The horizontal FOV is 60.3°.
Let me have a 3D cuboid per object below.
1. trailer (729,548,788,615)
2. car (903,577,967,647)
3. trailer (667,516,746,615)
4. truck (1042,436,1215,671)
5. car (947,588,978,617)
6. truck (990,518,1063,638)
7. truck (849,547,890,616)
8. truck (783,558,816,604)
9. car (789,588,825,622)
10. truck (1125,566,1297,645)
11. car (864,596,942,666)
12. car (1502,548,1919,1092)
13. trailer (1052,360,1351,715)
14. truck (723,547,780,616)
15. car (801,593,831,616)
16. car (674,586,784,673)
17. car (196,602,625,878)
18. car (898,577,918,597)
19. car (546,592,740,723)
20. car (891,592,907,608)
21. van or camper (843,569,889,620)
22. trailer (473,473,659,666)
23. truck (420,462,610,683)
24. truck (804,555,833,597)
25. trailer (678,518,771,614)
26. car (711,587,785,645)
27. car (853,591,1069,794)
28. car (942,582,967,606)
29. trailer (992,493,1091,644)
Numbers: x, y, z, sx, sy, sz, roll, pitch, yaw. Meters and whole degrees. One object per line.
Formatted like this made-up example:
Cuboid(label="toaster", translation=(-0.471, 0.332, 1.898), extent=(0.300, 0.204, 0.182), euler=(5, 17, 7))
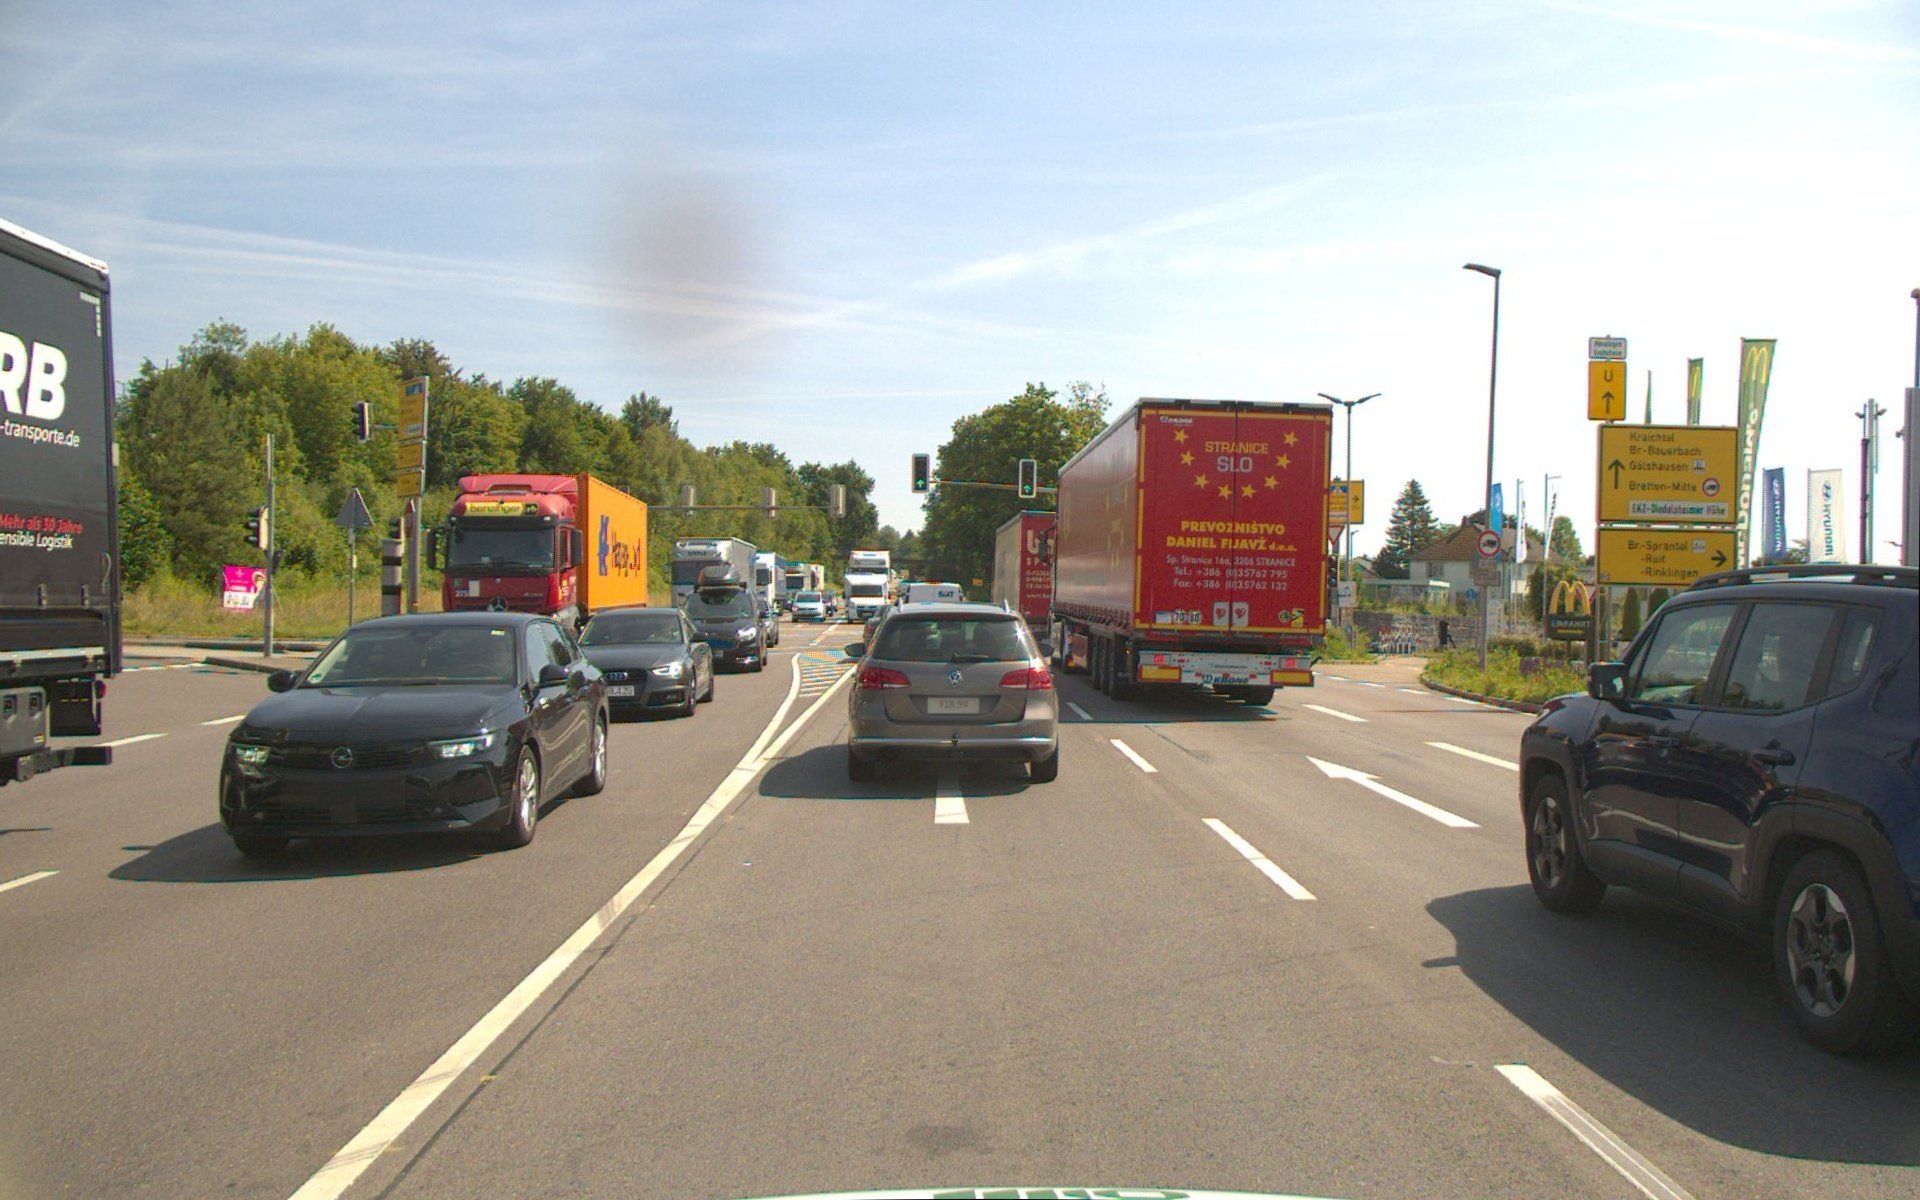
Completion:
Cuboid(label="trailer", translation=(-13.339, -1.188, 110.607), extent=(3.031, 4.151, 14.118), euler=(0, 0, -3))
Cuboid(label="car", translation=(-0.782, 0.328, 48.863), extent=(1.735, 1.970, 3.975), euler=(0, 0, -3))
Cuboid(label="trailer", translation=(-11.049, -1.457, 72.572), extent=(2.591, 4.176, 6.180), euler=(0, 0, -1))
Cuboid(label="truck", translation=(3.354, -0.891, 34.379), extent=(2.812, 4.355, 5.838), euler=(2, 0, -1))
Cuboid(label="car", translation=(0.168, 0.166, 118.296), extent=(1.954, 2.049, 3.997), euler=(0, 0, -3))
Cuboid(label="truck", translation=(2.367, -0.784, 60.452), extent=(2.357, 4.200, 5.520), euler=(0, 0, -1))
Cuboid(label="truck", translation=(-5.633, -1.124, 102.314), extent=(2.487, 4.159, 6.261), euler=(0, 0, -4))
Cuboid(label="truck", translation=(-14.726, -1.688, 152.231), extent=(2.675, 4.069, 9.614), euler=(0, 0, -3))
Cuboid(label="car", translation=(-8.666, 0.249, 93.786), extent=(1.806, 1.763, 4.586), euler=(2, 1, -3))
Cuboid(label="truck", translation=(14.652, 0.346, 96.462), extent=(9.527, 3.691, 2.752), euler=(6, -2, -20))
Cuboid(label="car", translation=(-1.369, 0.679, 38.419), extent=(1.735, 1.539, 3.997), euler=(0, 0, -3))
Cuboid(label="car", translation=(3.807, 0.673, 6.891), extent=(1.734, 1.683, 3.999), euler=(0, 0, -1))
Cuboid(label="trailer", translation=(3.458, -0.814, 27.750), extent=(2.782, 4.441, 13.165), euler=(2, 0, -1))
Cuboid(label="truck", translation=(-13.009, -1.119, 103.494), extent=(3.124, 4.151, 6.341), euler=(0, 0, -3))
Cuboid(label="car", translation=(-9.674, 0.299, 110.782), extent=(1.955, 1.511, 4.449), euler=(0, 0, -5))
Cuboid(label="car", translation=(-4.772, 0.558, 34.688), extent=(1.870, 1.630, 4.586), euler=(-1, 1, -3))
Cuboid(label="car", translation=(-3.518, 0.784, 11.463), extent=(1.677, 1.469, 4.376), euler=(-2, 0, -3))
Cuboid(label="car", translation=(-5.457, -1.323, 173.817), extent=(1.954, 2.049, 3.997), euler=(0, 0, -3))
Cuboid(label="car", translation=(-4.217, 0.694, 22.731), extent=(1.824, 1.550, 4.588), euler=(-1, 1, -1))
Cuboid(label="car", translation=(-7.758, -0.028, 208.617), extent=(1.954, 2.049, 3.997), euler=(0, 0, -3))
Cuboid(label="van or camper", translation=(-4.994, -0.310, 88.750), extent=(2.283, 2.646, 6.975), euler=(0, 0, -2))
Cuboid(label="trailer", translation=(-9.461, -0.660, 41.152), extent=(2.667, 4.068, 12.222), euler=(0, 0, -5))
Cuboid(label="truck", translation=(-8.867, -0.522, 33.598), extent=(2.667, 4.068, 6.051), euler=(0, 0, -5))
Cuboid(label="truck", translation=(-14.538, -2.397, 170.909), extent=(2.773, 4.188, 9.675), euler=(0, 0, -4))
Cuboid(label="trailer", translation=(-11.130, -1.511, 79.454), extent=(2.637, 4.220, 13.877), euler=(0, 0, -1))
Cuboid(label="car", translation=(-6.438, 0.451, 50.588), extent=(1.883, 1.630, 4.586), euler=(-1, 1, -3))
Cuboid(label="car", translation=(-0.103, 0.695, 14.617), extent=(1.658, 1.539, 3.997), euler=(0, 0, -3))
Cuboid(label="car", translation=(-0.507, -0.512, 143.885), extent=(1.954, 2.049, 3.997), euler=(0, 0, -3))
Cuboid(label="trailer", translation=(2.453, -0.919, 53.730), extent=(2.346, 4.317, 13.075), euler=(0, 0, -1))
